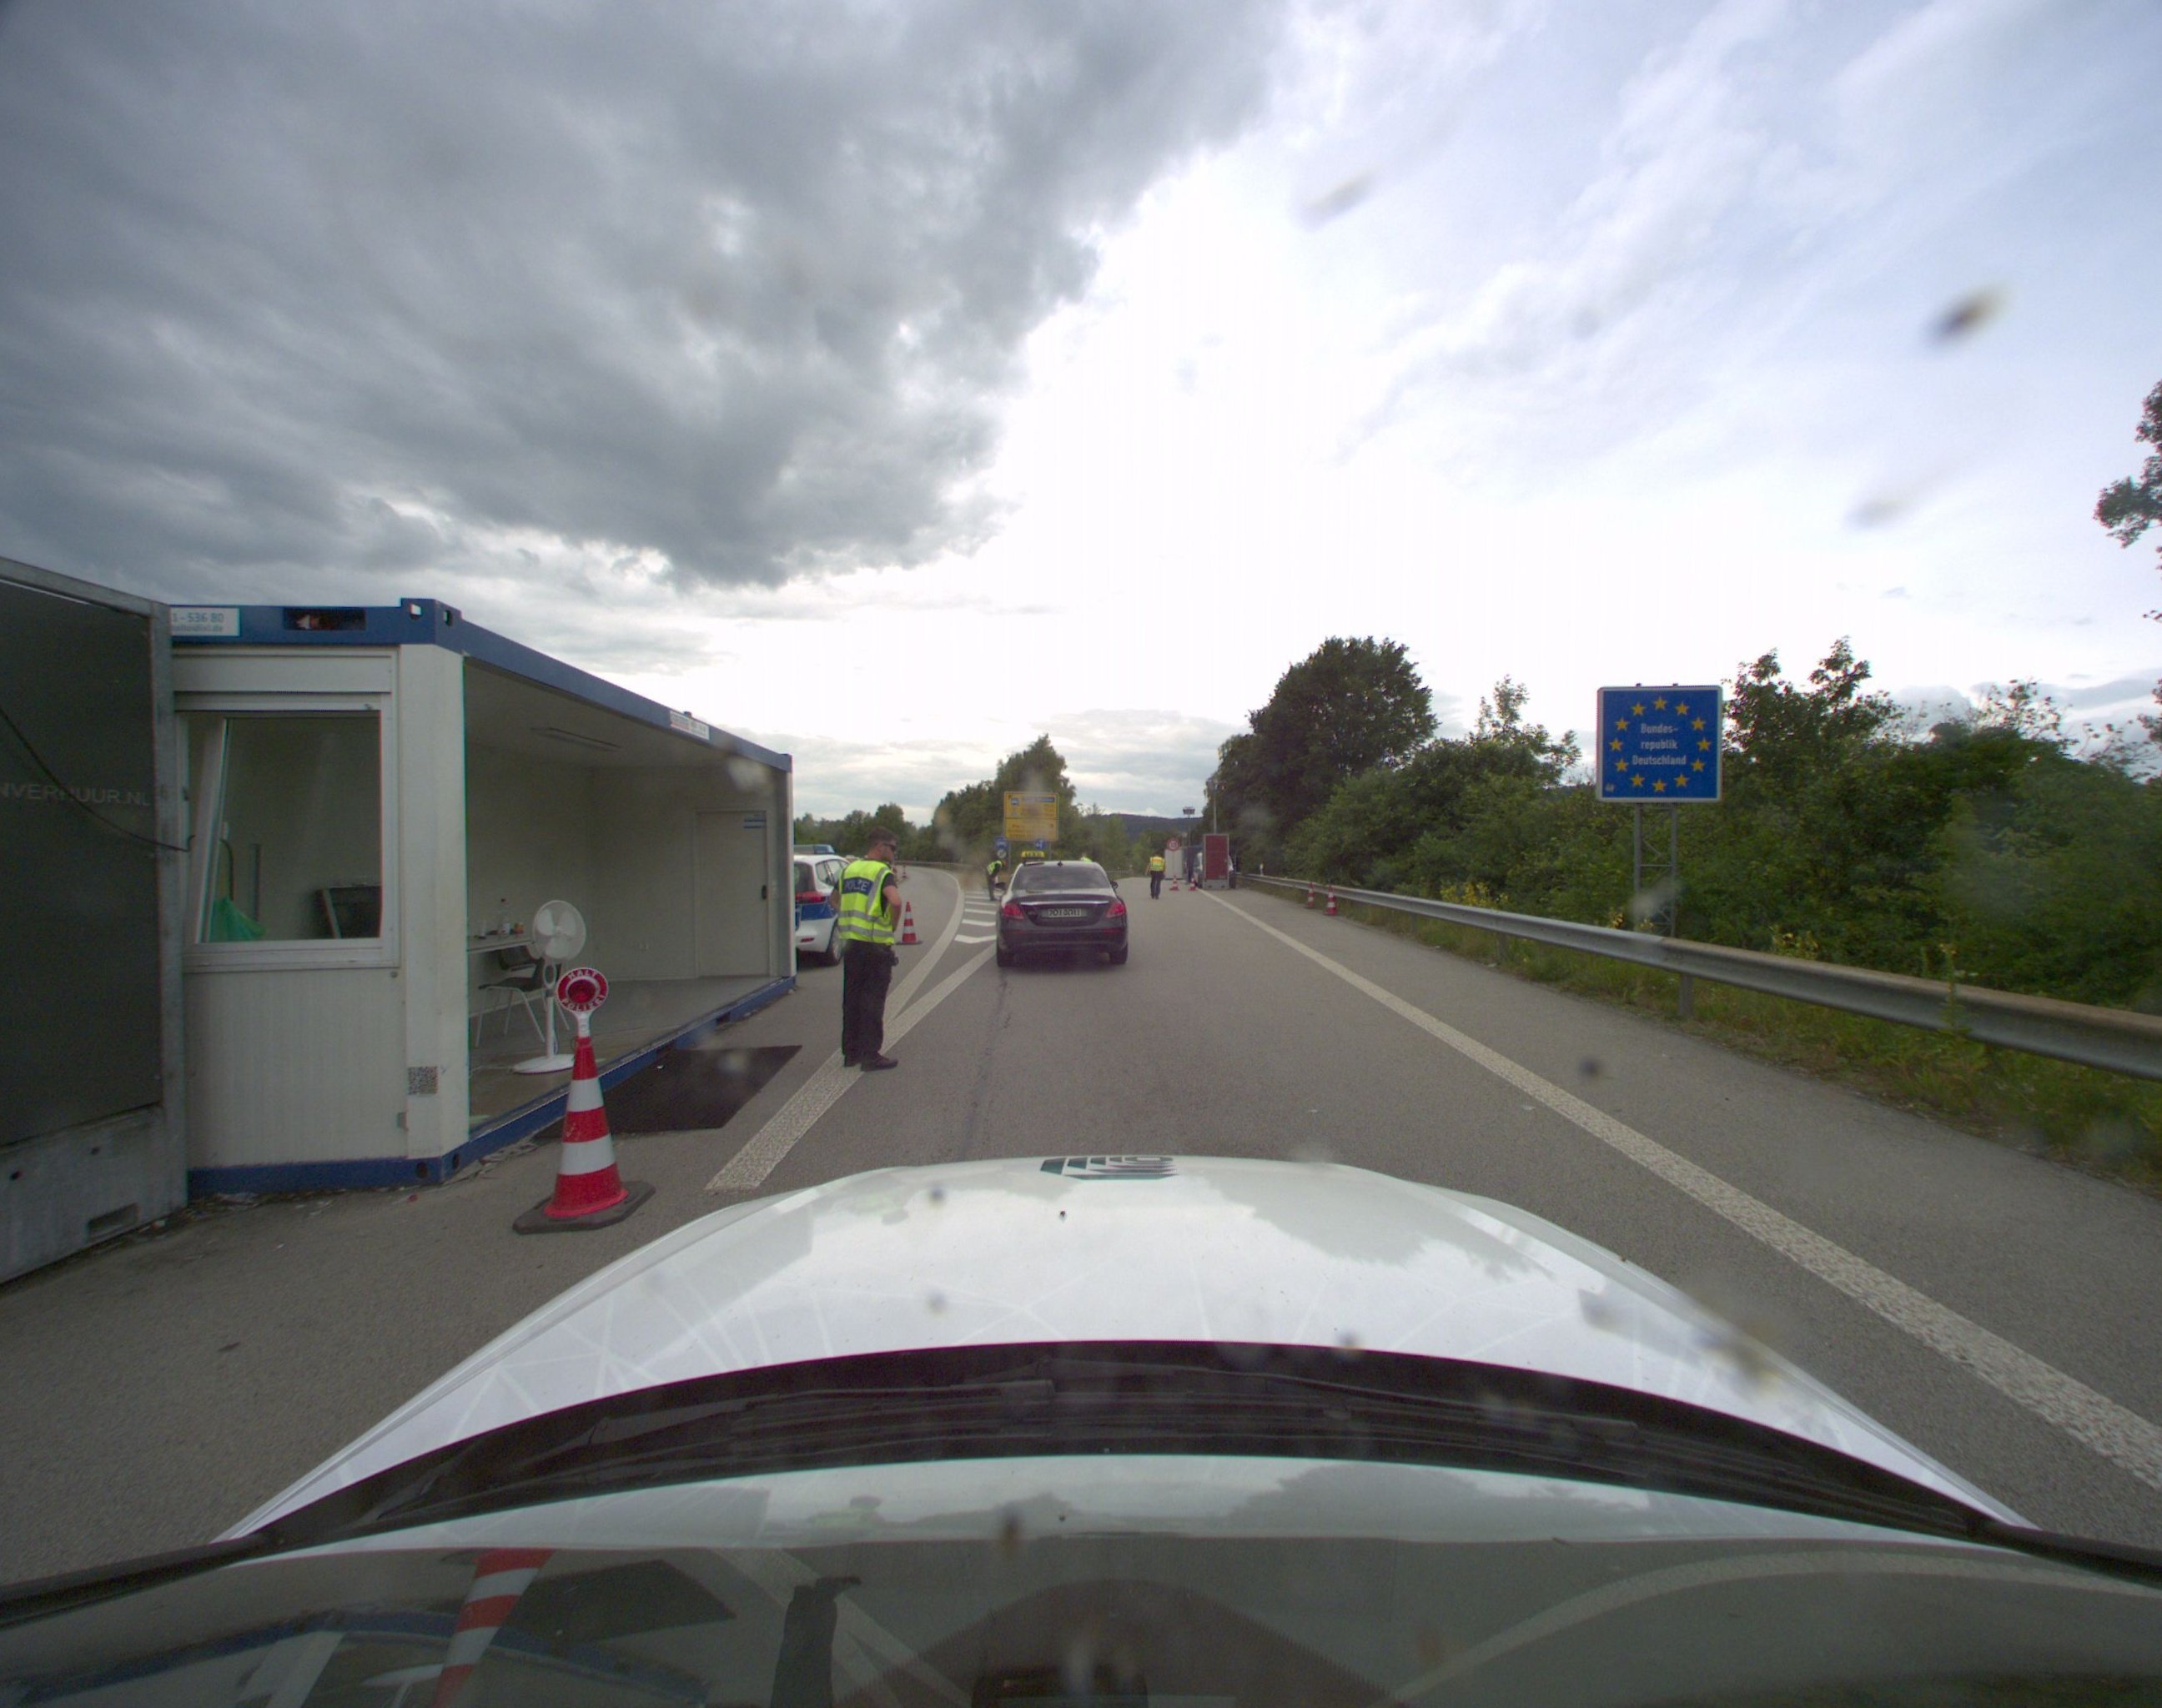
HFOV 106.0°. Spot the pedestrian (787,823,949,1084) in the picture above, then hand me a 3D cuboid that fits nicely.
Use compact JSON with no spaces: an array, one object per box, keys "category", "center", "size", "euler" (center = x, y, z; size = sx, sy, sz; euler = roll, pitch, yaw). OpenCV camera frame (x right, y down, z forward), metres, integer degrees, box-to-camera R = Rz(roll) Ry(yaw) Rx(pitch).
[{"category":"pedestrian","center":[-1.542,0.658,5.920],"size":[0.752,1.718,0.823],"euler":[-2,-1,39]}]

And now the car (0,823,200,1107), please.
[{"category":"car","center":[-8.481,0.787,4.639],"size":[1.990,1.989,4.758],"euler":[-1,0,-5]}]

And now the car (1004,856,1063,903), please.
[{"category":"car","center":[-1.602,0.823,28.676],"size":[1.850,1.498,4.255],"euler":[-1,0,-1]}]

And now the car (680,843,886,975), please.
[{"category":"car","center":[-4.476,0.738,12.947],"size":[1.864,1.743,4.005],"euler":[-1,0,-2]}]

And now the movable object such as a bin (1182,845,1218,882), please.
[{"category":"movable object such as a bin","center":[7.594,0.584,52.263],"size":[1.984,2.280,4.173],"euler":[-1,0,5]}]

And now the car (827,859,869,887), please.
[{"category":"car","center":[-13.395,1.079,46.967],"size":[1.855,1.498,4.242],"euler":[-1,0,-10]}]

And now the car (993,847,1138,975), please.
[{"category":"car","center":[-0.387,0.730,12.626],"size":[1.852,1.595,4.367],"euler":[-1,0,-5]}]

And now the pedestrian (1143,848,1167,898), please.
[{"category":"pedestrian","center":[2.746,0.691,30.254],"size":[0.809,1.830,0.810],"euler":[-1,-1,2]}]

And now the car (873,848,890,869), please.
[{"category":"car","center":[-22.410,0.515,91.556],"size":[1.858,2.222,4.237],"euler":[-1,0,-14]}]

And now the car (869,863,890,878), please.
[{"category":"car","center":[-19.561,1.595,79.141],"size":[1.853,1.463,3.982],"euler":[-1,-1,-13]}]

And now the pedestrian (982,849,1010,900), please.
[{"category":"pedestrian","center":[-2.999,0.712,28.802],"size":[0.908,1.769,0.911],"euler":[-1,0,-1]}]

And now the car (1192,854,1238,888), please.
[{"category":"car","center":[7.081,0.859,43.424],"size":[1.908,1.678,5.088],"euler":[1,0,4]}]

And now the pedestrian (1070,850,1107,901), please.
[{"category":"pedestrian","center":[0.253,0.709,27.849],"size":[0.914,1.698,0.905],"euler":[-1,0,-29]}]
